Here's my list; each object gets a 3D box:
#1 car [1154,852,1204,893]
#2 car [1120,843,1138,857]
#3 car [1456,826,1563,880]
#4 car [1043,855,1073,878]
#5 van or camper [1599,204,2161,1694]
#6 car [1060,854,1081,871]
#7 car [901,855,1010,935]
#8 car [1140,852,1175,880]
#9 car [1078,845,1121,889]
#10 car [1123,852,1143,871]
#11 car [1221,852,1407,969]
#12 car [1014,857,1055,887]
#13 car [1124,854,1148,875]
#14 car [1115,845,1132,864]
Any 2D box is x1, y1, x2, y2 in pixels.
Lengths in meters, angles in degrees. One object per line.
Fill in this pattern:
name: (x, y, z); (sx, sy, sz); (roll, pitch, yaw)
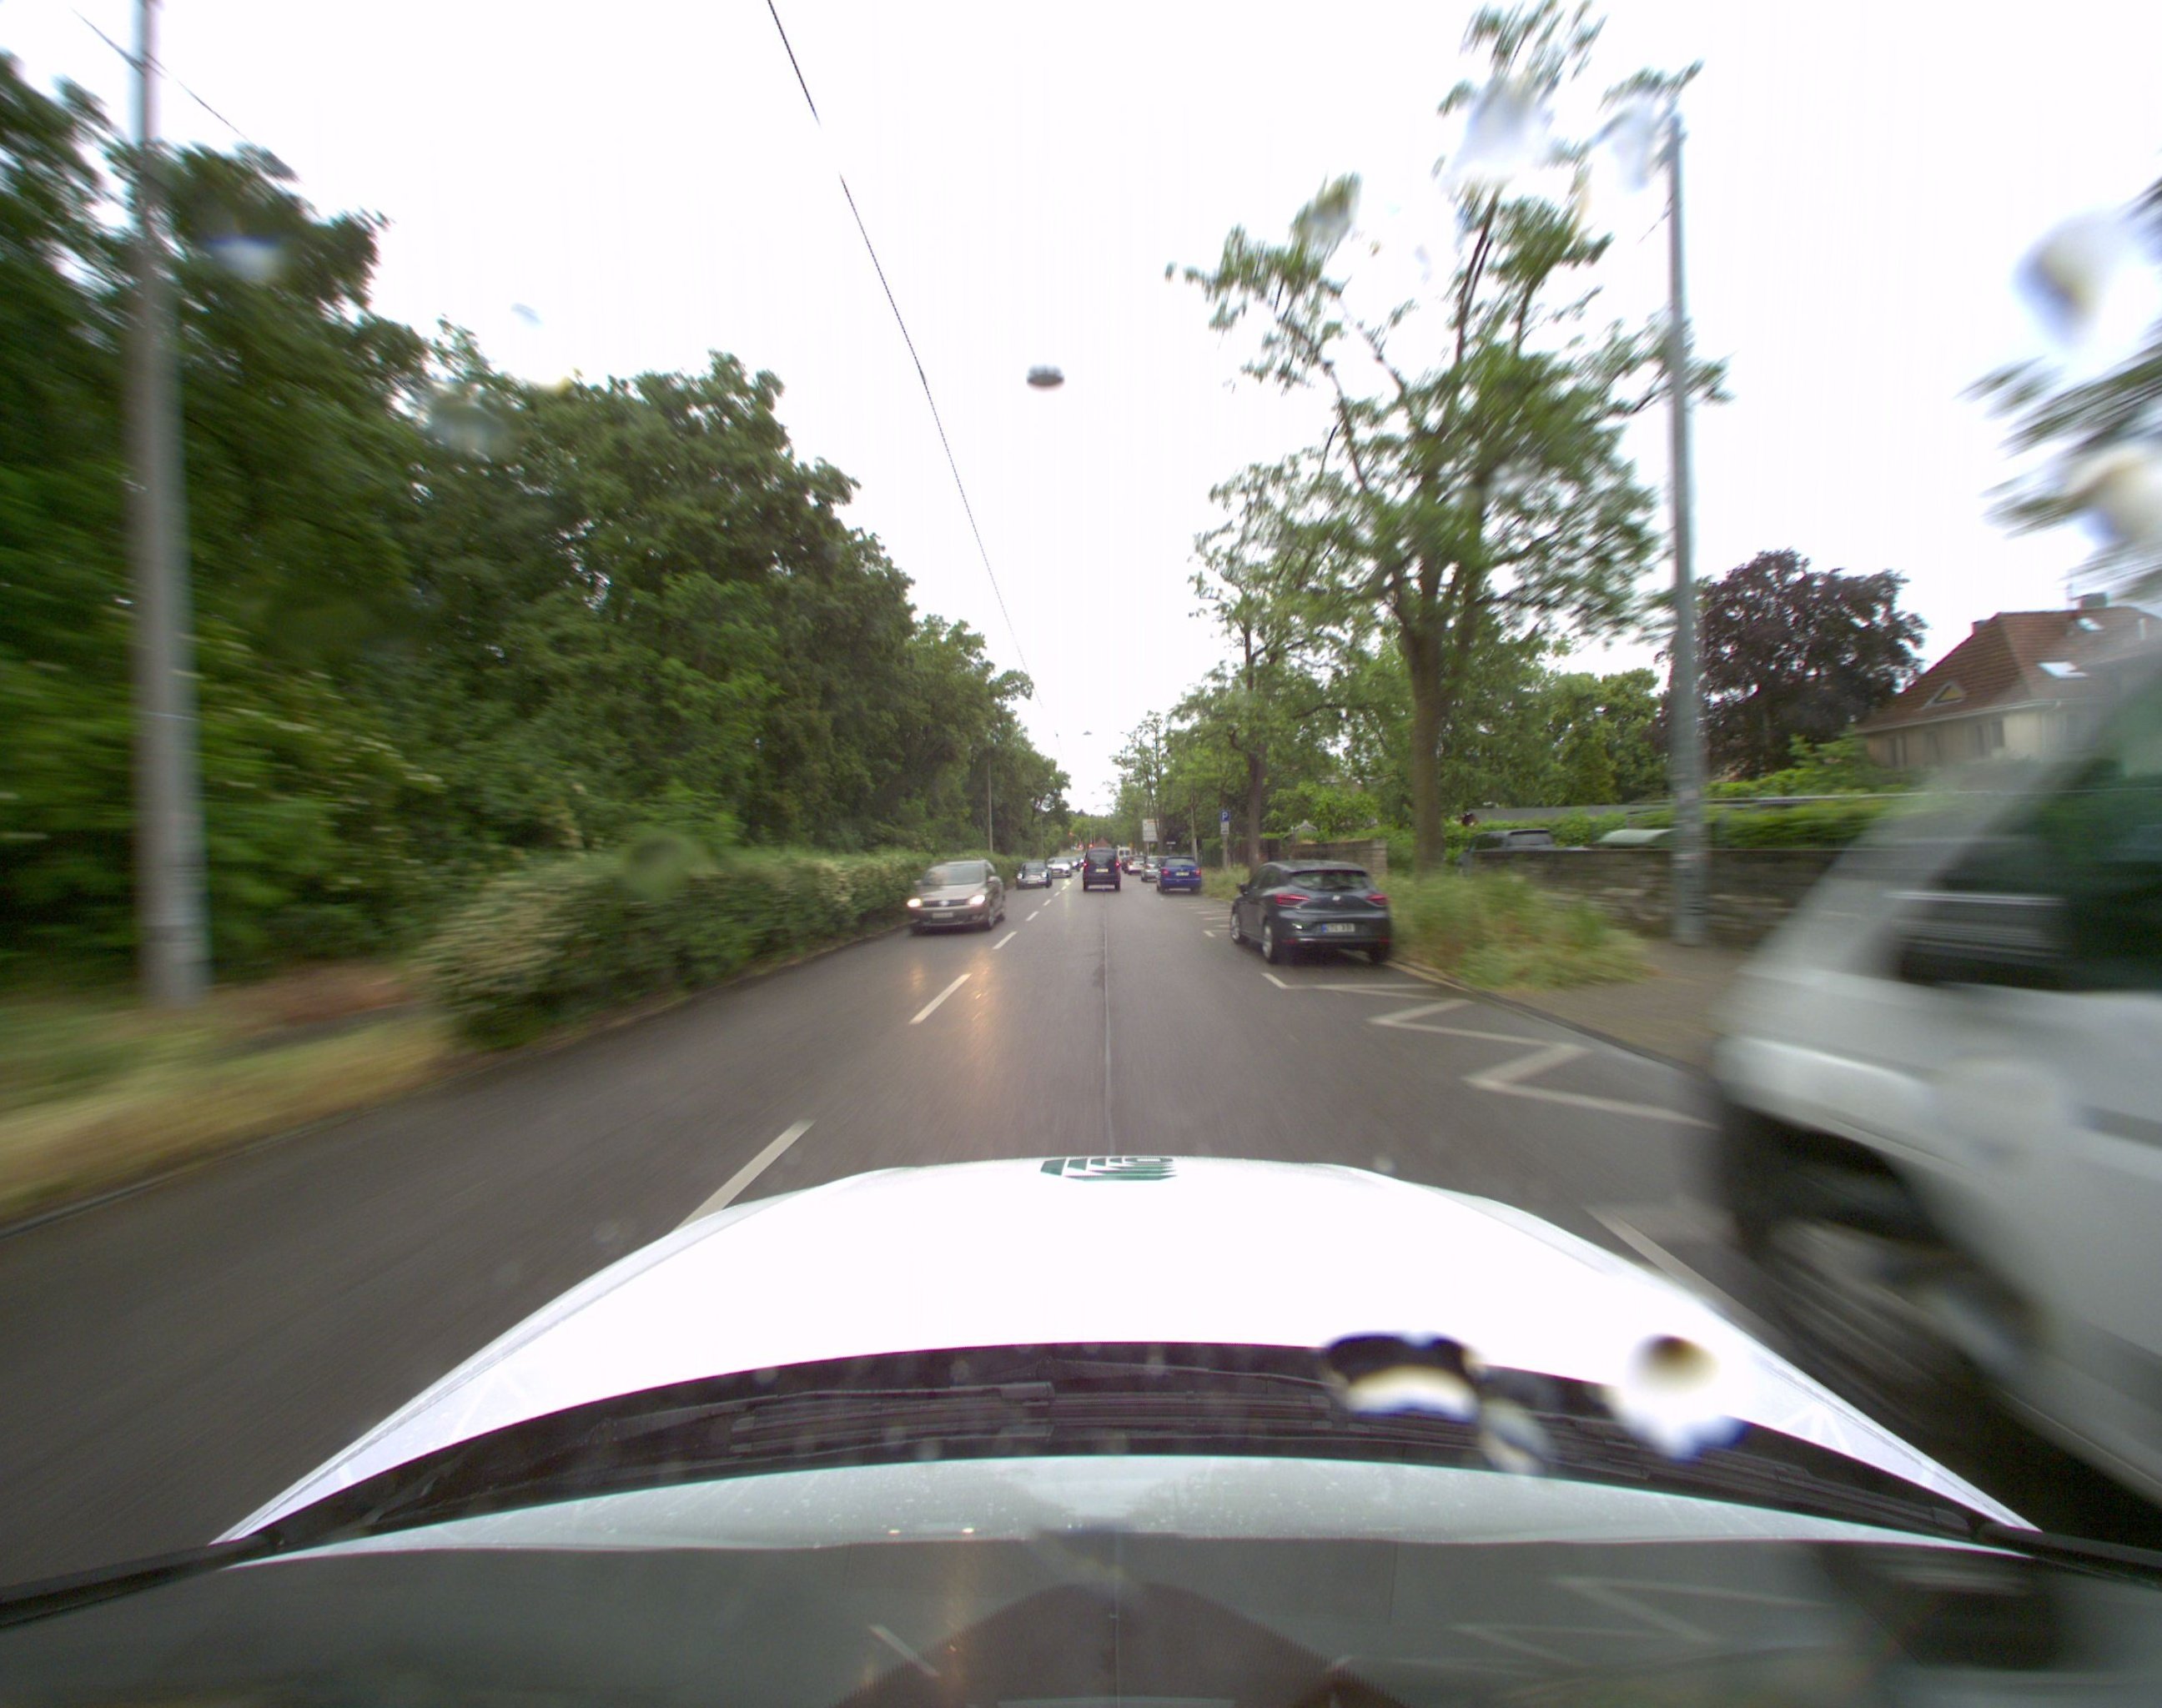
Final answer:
car: (3.951, 0.712, 33.398); (1.714, 1.505, 4.052); (0, 1, 2)
car: (4.985, -0.419, 85.296); (1.692, 1.524, 3.868); (0, 0, 1)
car: (15.749, -0.044, 30.204); (1.823, 1.810, 4.257); (-1, 0, 2)
car: (-1.644, 0.879, 59.603); (1.849, 1.468, 4.449); (-4, 1, 2)
van or camper: (2.933, 0.184, 0.398); (2.071, 2.650, 5.348); (0, 1, 1)
car: (-1.036, 0.811, 82.124); (1.797, 1.547, 4.433); (-3, 1, 1)
car: (-2.747, 0.836, 18.649); (1.723, 1.492, 4.001); (-3, 1, 1)
car: (4.317, 0.660, 46.287); (1.613, 1.508, 3.834); (0, 1, 0)
car: (0.780, 0.540, 36.068); (1.762, 1.830, 3.540); (0, 1, -2)
car: (4.400, 0.635, 68.892); (1.690, 1.524, 3.872); (0, 1, 4)
car: (3.408, 0.737, 12.691); (1.735, 1.479, 3.962); (0, 1, -1)
car: (-2.351, 0.883, 41.948); (1.680, 1.356, 3.725); (-3, 1, 2)
car: (4.209, 0.781, 62.865); (1.627, 1.510, 2.957); (0, 1, 0)
car: (5.725, 0.061, 110.414); (2.197, 2.449, 4.731); (-2, 0, 1)
